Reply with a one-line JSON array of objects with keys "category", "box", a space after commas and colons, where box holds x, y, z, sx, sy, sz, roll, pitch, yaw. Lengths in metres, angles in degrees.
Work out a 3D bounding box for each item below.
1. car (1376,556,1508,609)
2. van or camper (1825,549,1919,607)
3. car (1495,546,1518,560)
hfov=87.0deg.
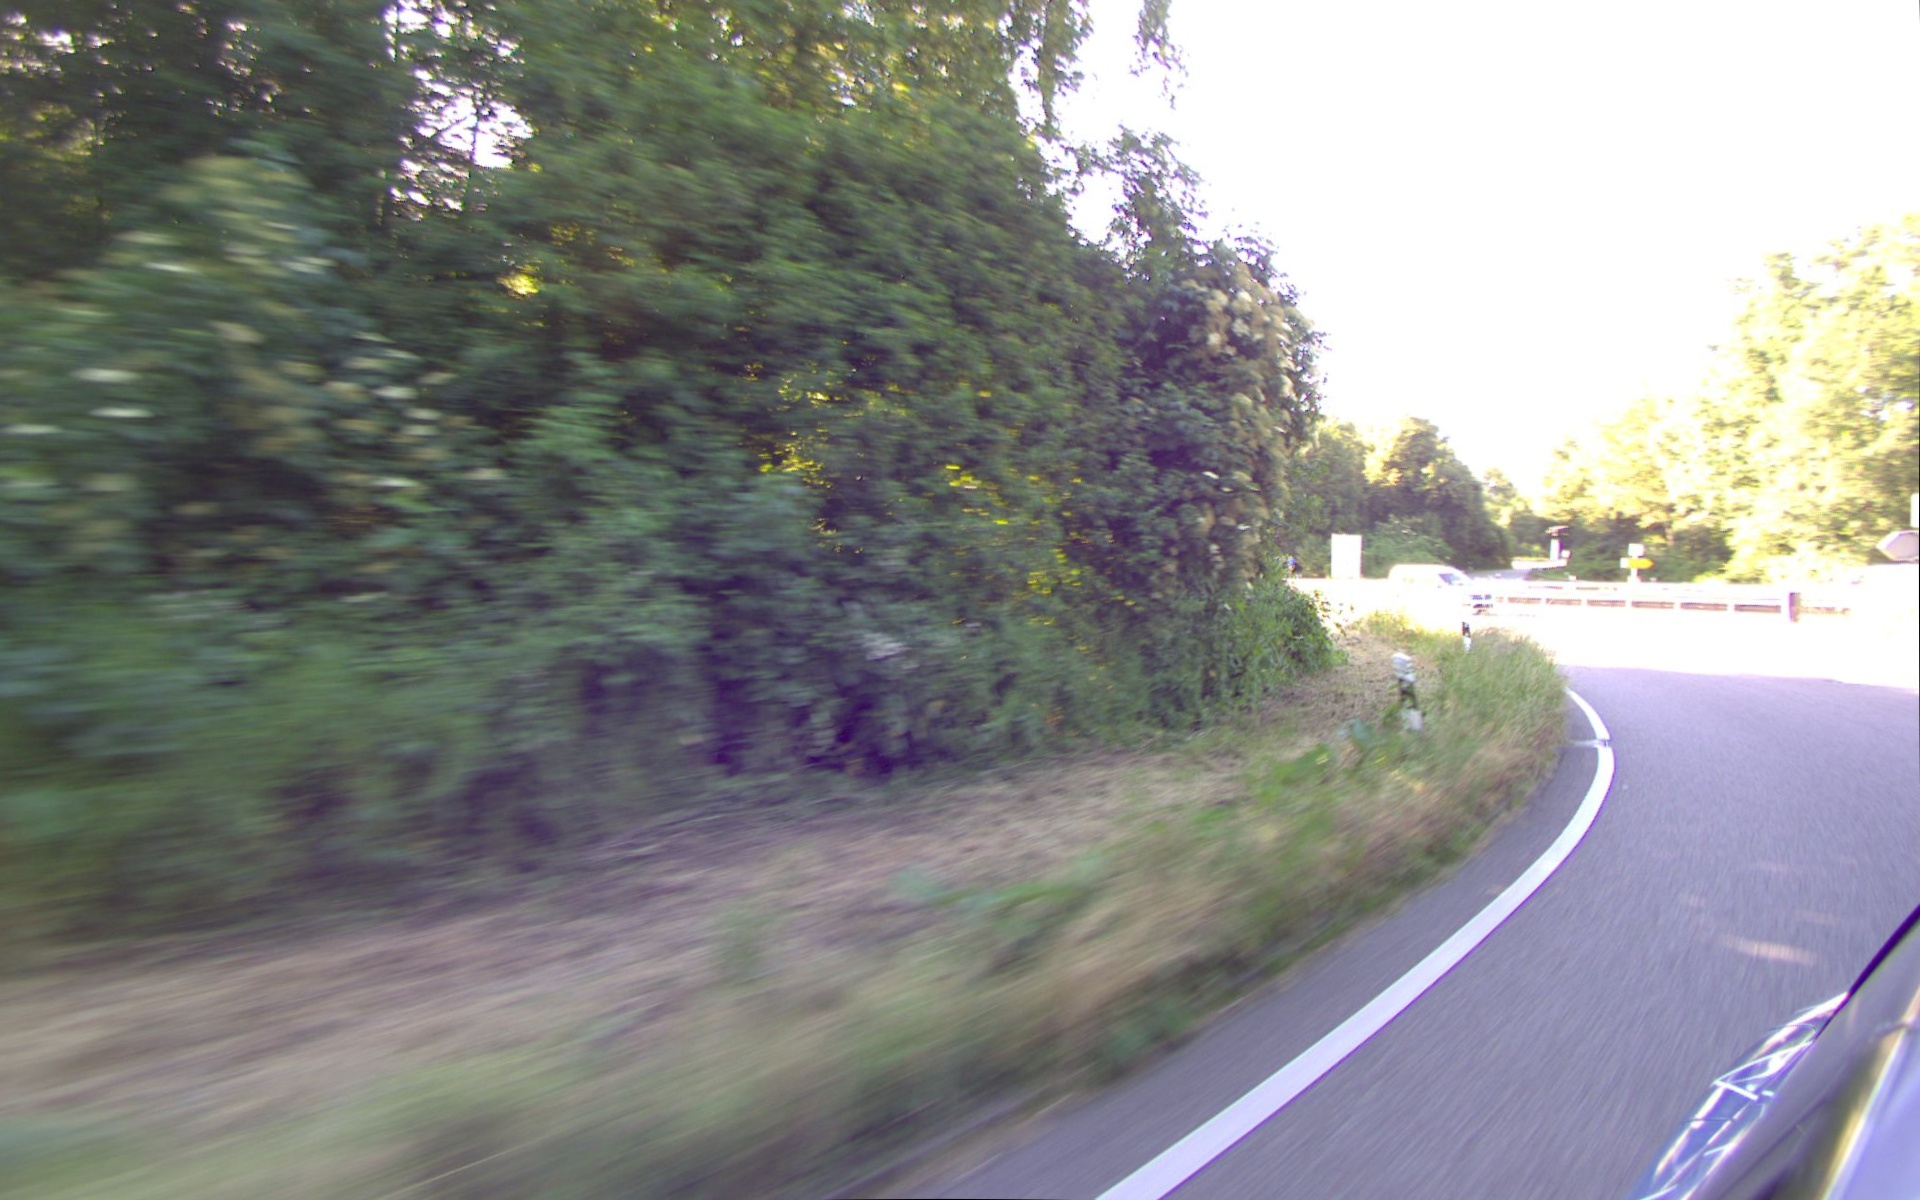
[{"category": "car", "box": [18.457, -0.756, 39.023, 1.763, 1.828, 4.846, -1, 3, -17]}, {"category": "van or camper", "box": [34.872, -0.814, 36.794, 2.036, 2.038, 4.830, 0, 2, -16]}, {"category": "car", "box": [75.242, -6.521, 139.281, 1.990, 1.882, 4.603, 2, 4, 38]}]
